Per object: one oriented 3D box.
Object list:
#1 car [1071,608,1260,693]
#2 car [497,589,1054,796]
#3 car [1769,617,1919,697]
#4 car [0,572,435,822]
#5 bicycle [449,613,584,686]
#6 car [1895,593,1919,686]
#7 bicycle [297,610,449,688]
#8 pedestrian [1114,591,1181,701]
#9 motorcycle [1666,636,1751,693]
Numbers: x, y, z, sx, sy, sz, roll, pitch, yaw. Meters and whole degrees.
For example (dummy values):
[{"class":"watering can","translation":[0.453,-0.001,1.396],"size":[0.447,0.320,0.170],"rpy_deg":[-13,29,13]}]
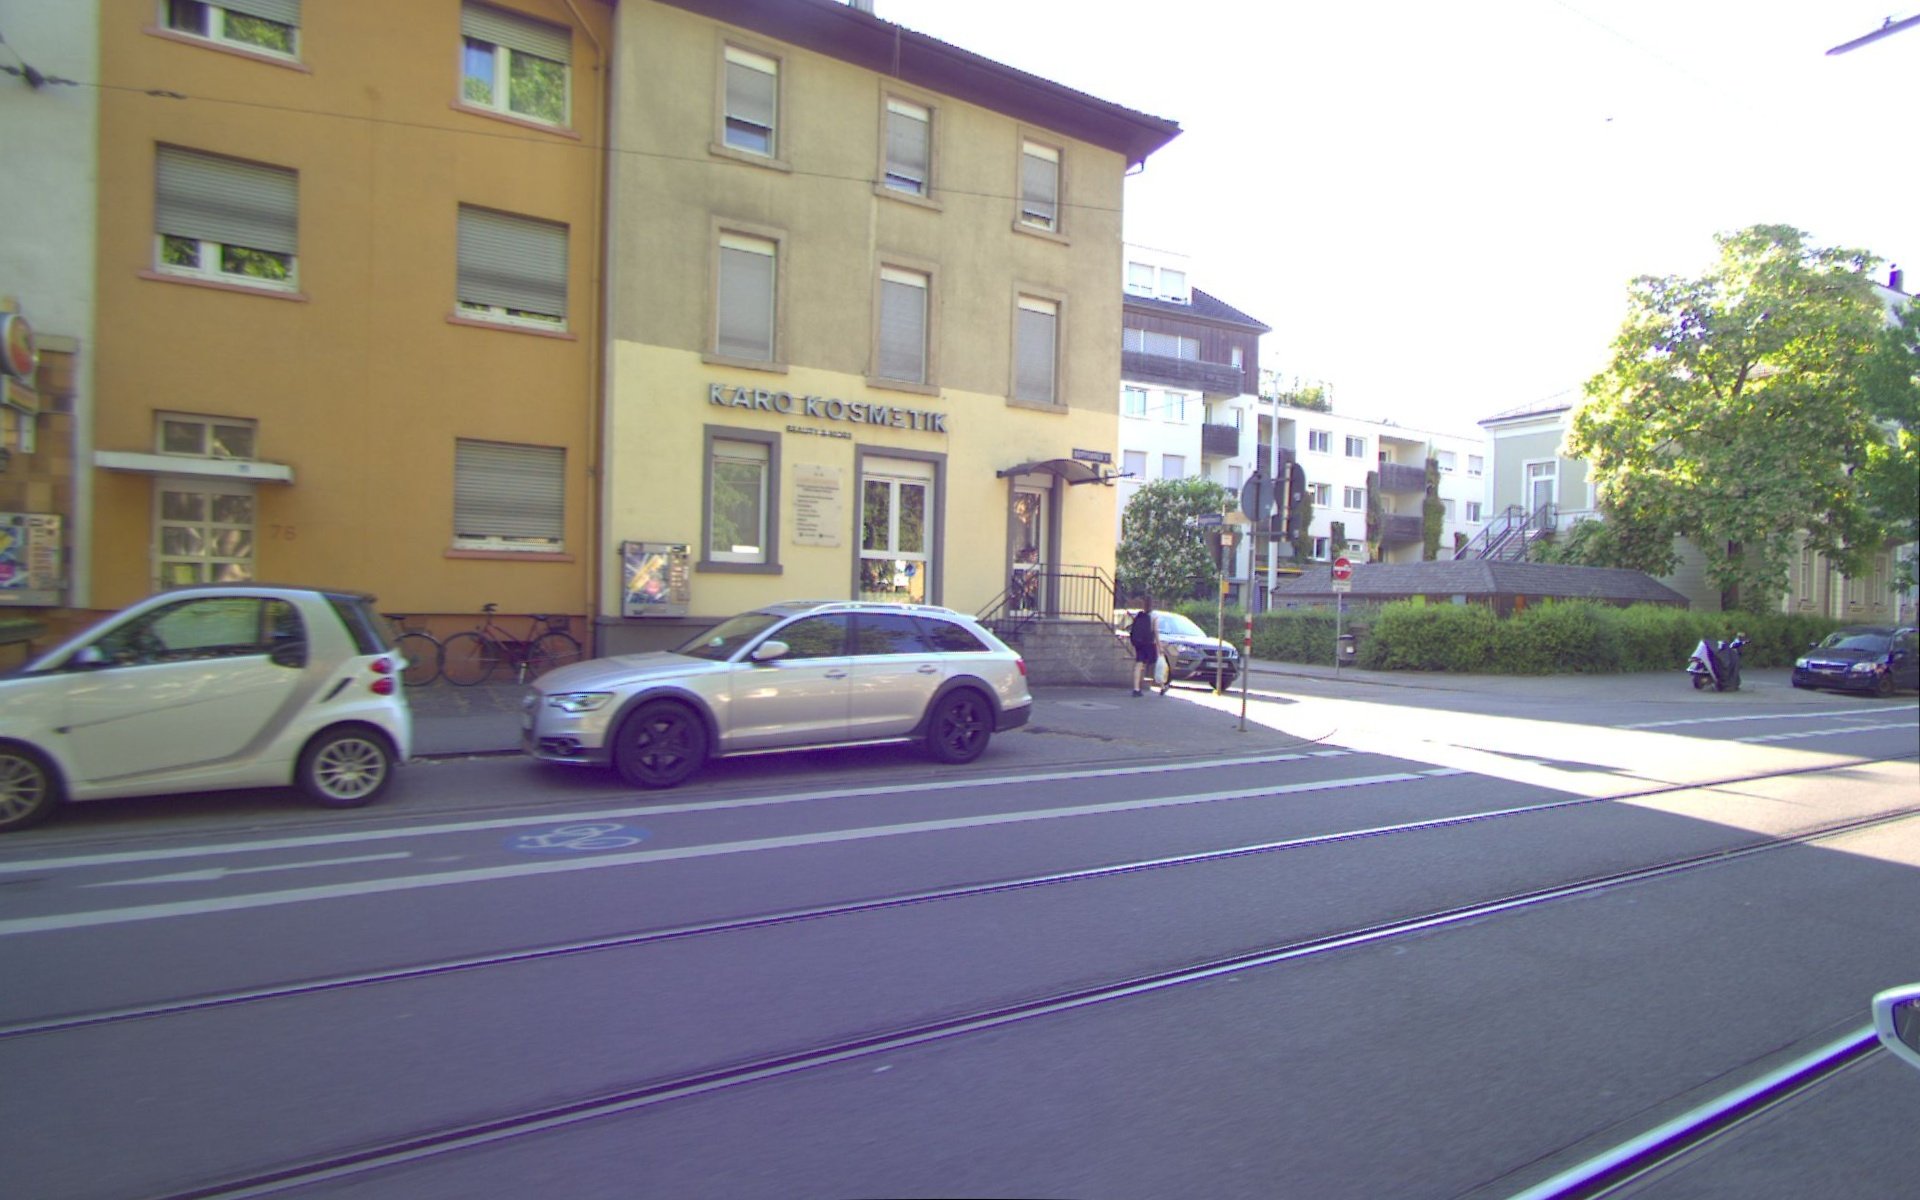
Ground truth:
[{"class":"car","translation":[4.318,1.012,21.750],"size":[1.940,1.639,4.048],"rpy_deg":[2,-1,-26]},{"class":"car","translation":[-1.582,0.734,9.518],"size":[4.889,1.512,1.760],"rpy_deg":[2,1,-33]},{"class":"car","translation":[21.490,1.315,23.925],"size":[4.208,1.712,1.984],"rpy_deg":[2,0,-28]},{"class":"car","translation":[-5.444,0.606,7.265],"size":[2.849,1.512,1.563],"rpy_deg":[2,1,-30]},{"class":"bicycle","translation":[-5.978,0.661,13.586],"size":[1.628,0.941,0.360],"rpy_deg":[2,0,-31]},{"class":"car","translation":[29.022,1.150,28.563],"size":[5.285,2.541,2.291],"rpy_deg":[2,0,-32]},{"class":"bicycle","translation":[-7.414,0.614,12.752],"size":[1.628,0.941,0.360],"rpy_deg":[2,0,-31]},{"class":"pedestrian","translation":[2.922,0.709,15.592],"size":[0.739,1.607,0.775],"rpy_deg":[3,-1,27]},{"class":"motorcycle","translation":[17.004,1.440,22.810],"size":[2.123,1.155,0.670],"rpy_deg":[-1,4,-28]}]
